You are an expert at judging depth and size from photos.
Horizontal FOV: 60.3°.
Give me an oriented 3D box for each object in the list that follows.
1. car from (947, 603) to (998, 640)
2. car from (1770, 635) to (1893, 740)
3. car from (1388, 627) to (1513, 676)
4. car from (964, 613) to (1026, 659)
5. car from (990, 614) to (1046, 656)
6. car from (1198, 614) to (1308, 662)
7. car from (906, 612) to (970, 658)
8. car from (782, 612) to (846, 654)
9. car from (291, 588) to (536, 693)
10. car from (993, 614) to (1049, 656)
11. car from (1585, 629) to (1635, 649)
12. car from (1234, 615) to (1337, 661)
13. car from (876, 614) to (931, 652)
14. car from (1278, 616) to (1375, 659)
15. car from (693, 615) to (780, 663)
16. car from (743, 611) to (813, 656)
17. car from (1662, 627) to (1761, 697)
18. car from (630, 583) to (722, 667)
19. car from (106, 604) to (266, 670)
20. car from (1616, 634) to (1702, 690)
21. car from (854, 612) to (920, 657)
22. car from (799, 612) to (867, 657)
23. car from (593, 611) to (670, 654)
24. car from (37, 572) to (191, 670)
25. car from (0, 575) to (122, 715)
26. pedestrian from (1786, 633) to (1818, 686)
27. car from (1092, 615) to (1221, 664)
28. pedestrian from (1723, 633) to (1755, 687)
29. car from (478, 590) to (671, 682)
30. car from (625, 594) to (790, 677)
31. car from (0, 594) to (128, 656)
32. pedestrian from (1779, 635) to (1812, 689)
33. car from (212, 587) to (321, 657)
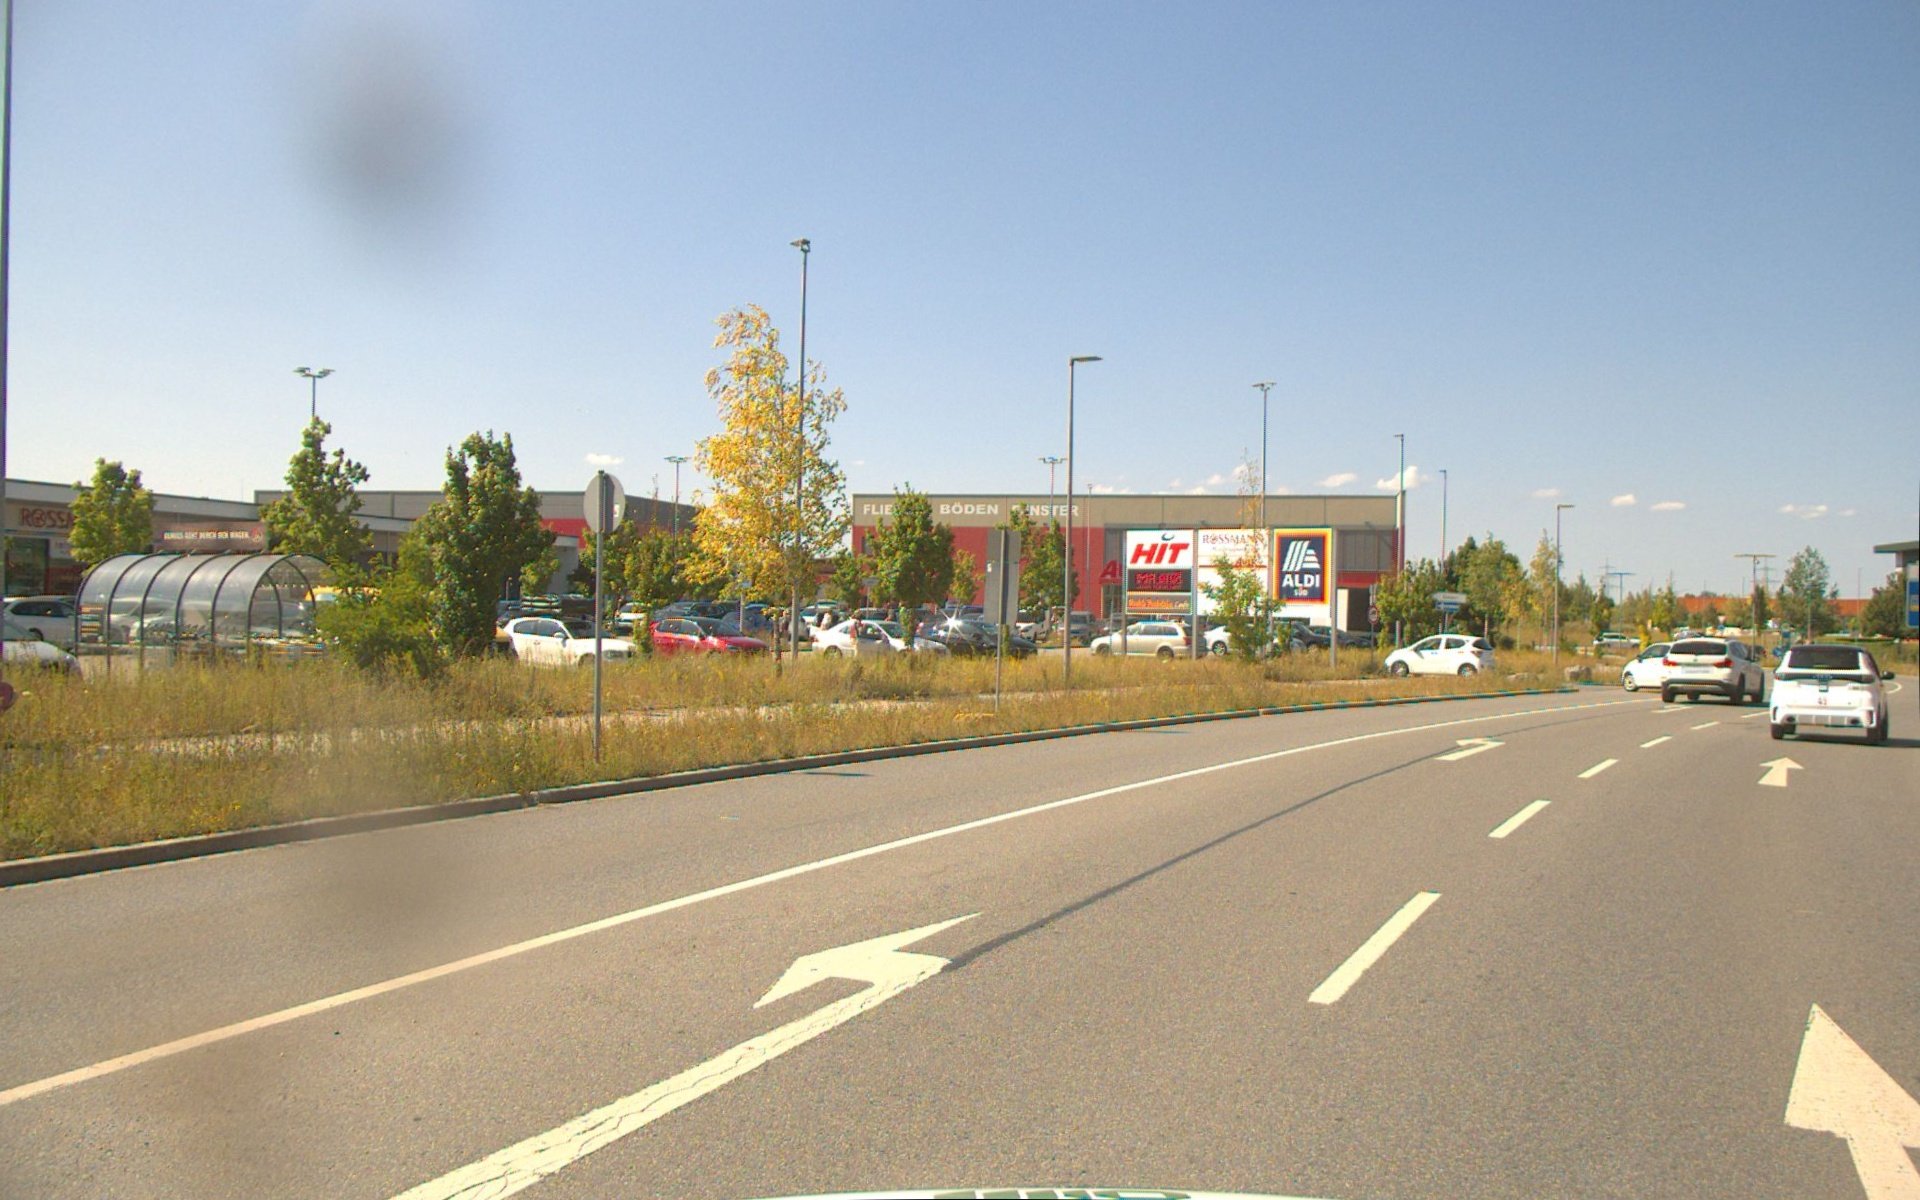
[{"bbox_3d":[0.748,1.248,95.494,1.951,2.073,4.488,0,-1,14],"label":"car"},{"bbox_3d":[13.807,1.335,26.140,1.448,1.516,2.992,1,-1,33],"label":"car"},{"bbox_3d":[16.435,1.694,55.469,3.704,1.578,1.736,0,-1,33],"label":"car"},{"bbox_3d":[1.649,1.646,77.120,1.951,2.073,4.488,0,-1,14],"label":"car"},{"bbox_3d":[2.955,1.745,83.047,1.951,2.073,4.488,0,-1,14],"label":"car"},{"bbox_3d":[12.906,1.662,72.845,4.381,2.073,1.998,0,-1,25],"label":"car"},{"bbox_3d":[-1.004,1.639,77.865,1.951,2.073,4.488,0,-1,14],"label":"car"},{"bbox_3d":[-7.480,1.702,85.060,1.951,2.073,4.488,0,-1,14],"label":"car"},{"bbox_3d":[-11.572,0.804,34.935,5.005,2.049,2.160,1,-1,31],"label":"car"},{"bbox_3d":[3.081,1.746,83.031,1.951,2.073,4.488,0,-1,14],"label":"car"},{"bbox_3d":[60.595,3.626,154.249,3.916,1.758,1.994,1,-1,-12],"label":"car"},{"bbox_3d":[15.227,1.745,77.281,4.381,2.073,1.998,0,-1,25],"label":"car"},{"bbox_3d":[-3.148,1.851,92.911,1.951,2.073,4.488,0,-1,14],"label":"car"},{"bbox_3d":[18.189,1.837,82.022,4.381,2.073,1.998,0,-1,25],"label":"car"},{"bbox_3d":[-8.791,1.525,65.408,1.951,1.815,4.318,0,-1,14],"label":"car"},{"bbox_3d":[-8.722,1.611,79.604,1.951,2.073,4.488,0,-1,14],"label":"car"},{"bbox_3d":[18.273,1.463,40.118,1.704,1.578,4.560,0,-1,31],"label":"car"},{"bbox_3d":[-10.135,0.895,59.304,1.951,2.871,4.488,0,-1,8],"label":"car"},{"bbox_3d":[-23.226,1.098,49.843,1.951,1.896,4.488,0,-1,14],"label":"car"},{"bbox_3d":[20.949,1.839,49.682,1.698,1.578,3.786,0,-1,12],"label":"car"},{"bbox_3d":[-3.447,1.638,78.942,1.951,2.073,4.488,0,-1,14],"label":"car"},{"bbox_3d":[-6.028,1.623,79.163,1.951,2.073,4.488,0,-1,14],"label":"car"},{"bbox_3d":[-16.017,1.579,80.937,1.951,2.073,4.488,0,-1,14],"label":"car"},{"bbox_3d":[-25.842,0.655,50.723,1.951,2.871,4.488,0,-1,8],"label":"car"},{"bbox_3d":[-15.868,0.641,26.156,5.001,2.049,2.162,1,-1,28],"label":"car"},{"bbox_3d":[27.124,1.903,53.270,0.701,1.693,0.660,1,-1,-30],"label":"pedestrian"},{"bbox_3d":[7.364,1.458,62.087,4.389,1.745,1.995,0,-1,32],"label":"car"},{"bbox_3d":[25.172,1.937,53.425,0.701,1.693,0.660,1,-1,-30],"label":"pedestrian"},{"bbox_3d":[-9.206,0.822,39.415,4.314,2.049,1.940,1,-1,31],"label":"car"},{"bbox_3d":[-6.661,0.908,43.597,4.051,2.049,1.878,1,-1,33],"label":"car"},{"bbox_3d":[-24.419,0.660,43.934,1.615,1.547,4.353,0,-1,16],"label":"car"},{"bbox_3d":[26.605,1.963,52.665,0.701,1.693,0.660,1,-1,-30],"label":"pedestrian"},{"bbox_3d":[-29.526,0.928,70.550,1.951,2.871,4.488,0,-1,14],"label":"car"}]
